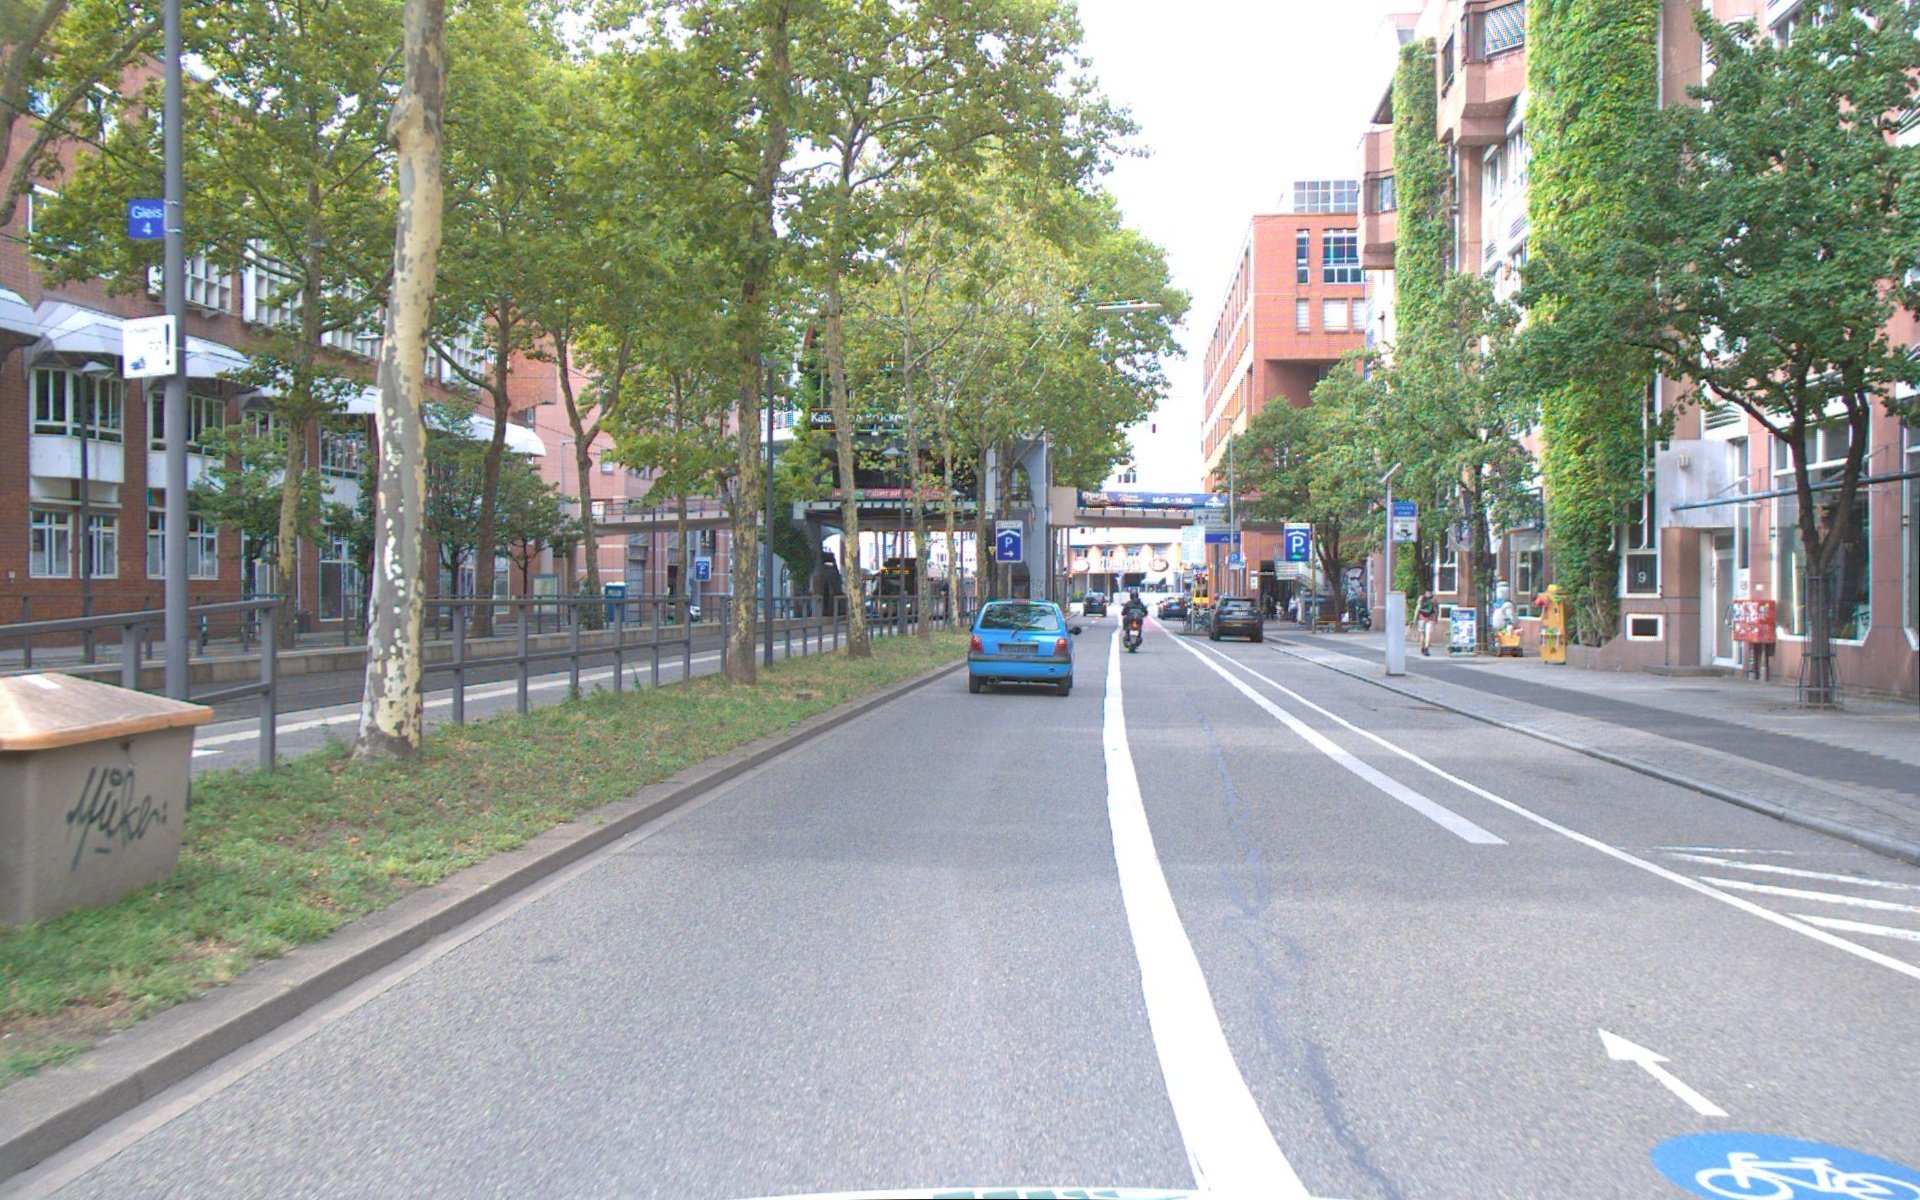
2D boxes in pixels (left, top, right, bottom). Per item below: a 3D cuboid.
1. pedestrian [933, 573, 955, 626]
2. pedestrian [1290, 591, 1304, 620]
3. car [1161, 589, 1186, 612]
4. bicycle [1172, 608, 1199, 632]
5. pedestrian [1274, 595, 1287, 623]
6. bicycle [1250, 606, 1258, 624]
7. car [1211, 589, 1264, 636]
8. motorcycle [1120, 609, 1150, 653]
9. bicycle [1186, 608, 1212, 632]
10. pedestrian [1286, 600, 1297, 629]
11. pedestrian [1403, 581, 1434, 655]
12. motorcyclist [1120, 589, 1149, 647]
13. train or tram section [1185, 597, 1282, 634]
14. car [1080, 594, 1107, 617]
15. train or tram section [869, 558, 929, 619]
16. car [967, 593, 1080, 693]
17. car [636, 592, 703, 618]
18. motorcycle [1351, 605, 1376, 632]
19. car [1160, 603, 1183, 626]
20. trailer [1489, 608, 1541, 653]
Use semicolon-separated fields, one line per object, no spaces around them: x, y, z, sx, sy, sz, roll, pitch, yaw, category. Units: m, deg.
-0.573;-0.014;59.669;0.712;1.891;0.871;0;0;6;pedestrian
18.722;0.316;91.864;0.655;1.589;0.729;0;0;1;pedestrian
15.063;0.039;116.967;1.663;1.629;4.003;0;0;6;car
9.729;0.860;71.401;0.553;1.026;2.005;0;0;-9;bicycle
17.972;0.494;92.745;0.655;1.589;0.729;0;0;1;pedestrian
15.309;0.777;86.197;0.348;0.956;1.209;0;0;6;bicycle
10.045;0.417;60.056;1.663;1.629;4.003;0;0;6;car
4.709;0.829;44.677;0.751;1.126;2.209;-1;0;5;motorcycle
10.357;0.853;71.662;0.553;1.026;2.005;0;0;-9;bicycle
18.610;0.811;92.824;0.534;1.589;0.615;0;0;5;pedestrian
11.782;0.446;42.527;0.633;1.891;0.783;0;0;4;pedestrian
4.719;0.491;44.753;0.743;1.545;1.018;-1;0;5;motorcyclist
25.542;1.424;154.387;8.634;3.310;2.390;0;0;-12;train or tram section
9.939;0.392;122.790;1.846;1.652;4.003;0;0;6;car
-3.423;-0.646;94.570;2.338;3.310;8.823;0;0;5;train or tram section
1.073;0.618;26.180;1.606;1.410;3.845;1;1;5;car
-18.458;0.291;105.094;3.904;1.652;1.805;0;0;2;car
18.353;0.831;75.238;0.740;1.156;2.437;0;0;4;motorcycle
15.620;1.041;122.301;1.663;1.629;4.003;0;0;6;car
13.970;0.752;41.616;0.973;1.077;1.606;0;0;30;trailer
